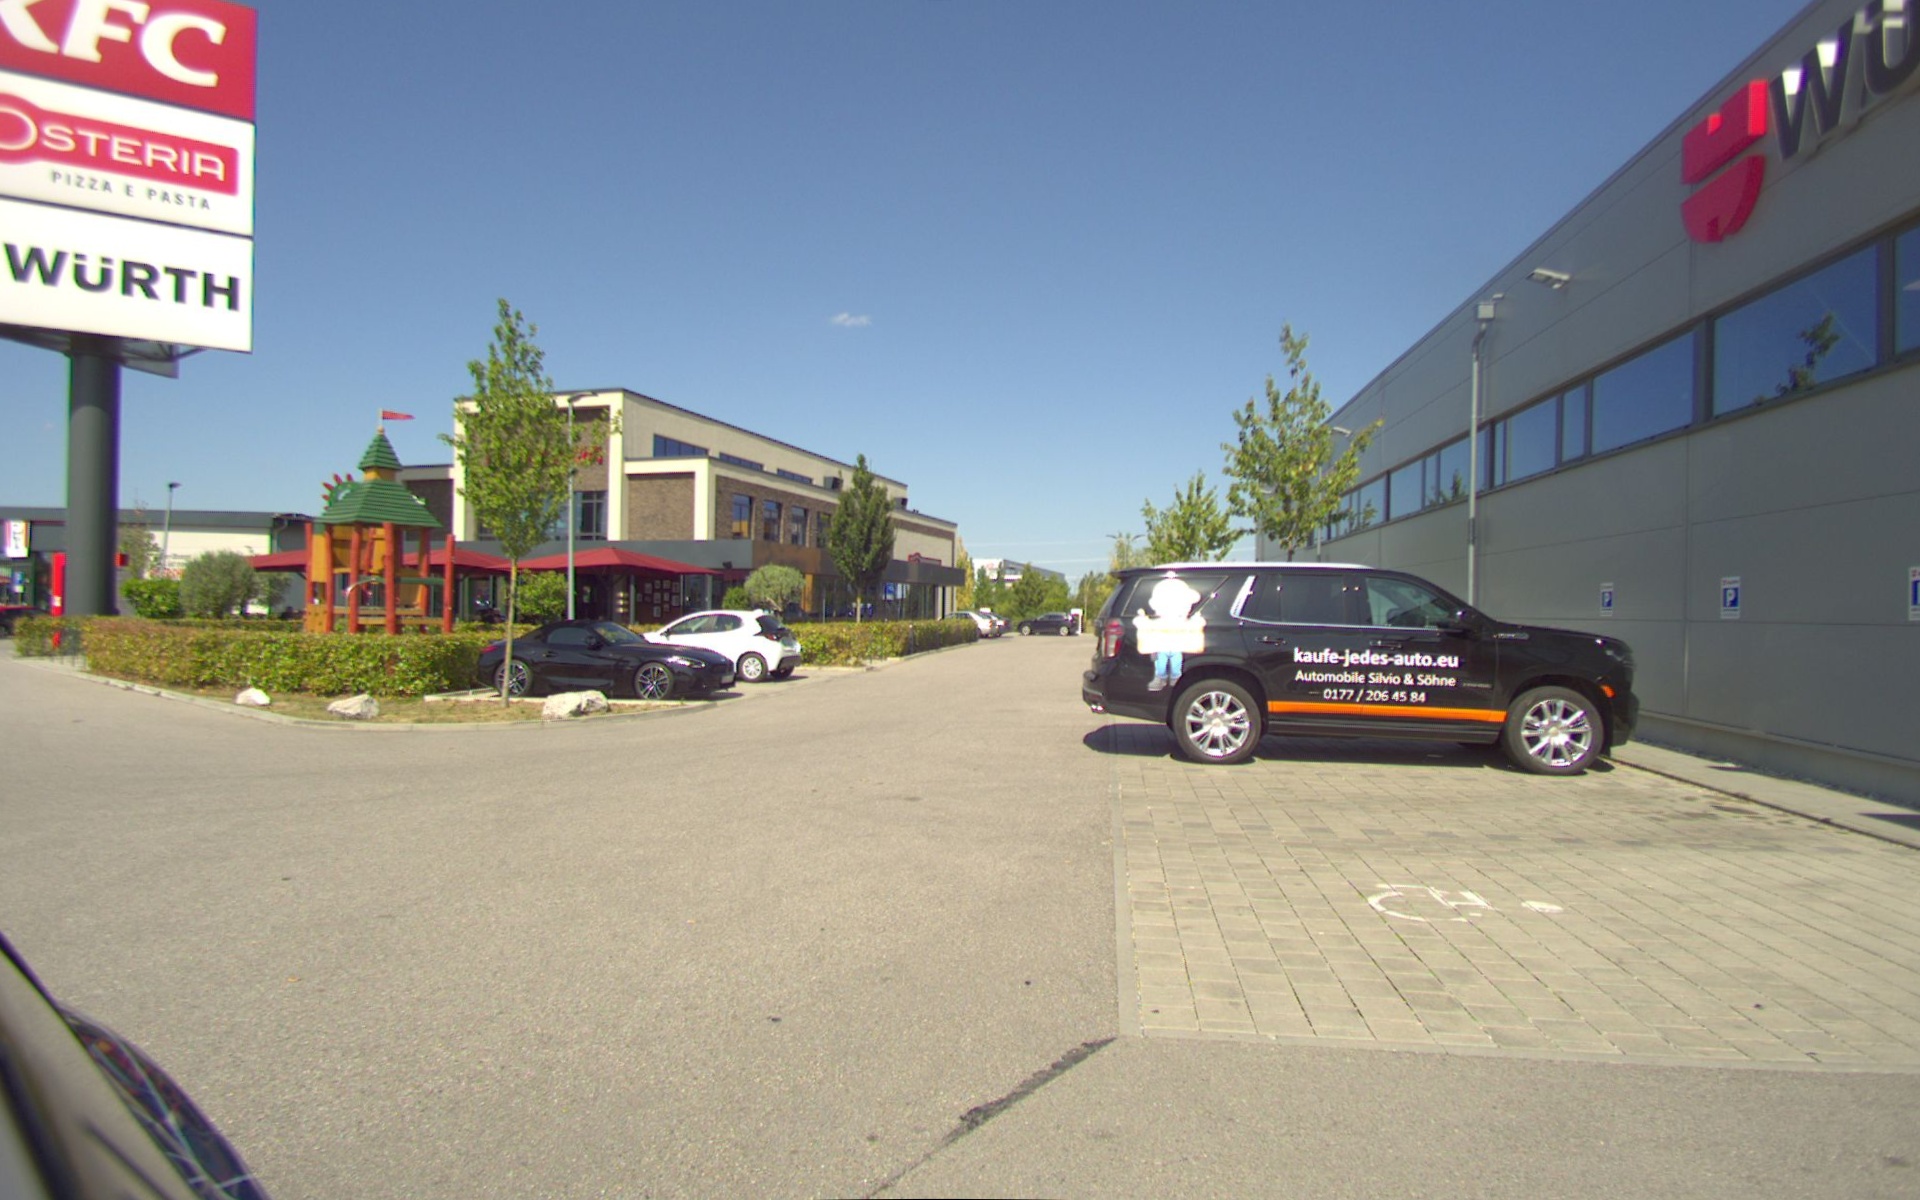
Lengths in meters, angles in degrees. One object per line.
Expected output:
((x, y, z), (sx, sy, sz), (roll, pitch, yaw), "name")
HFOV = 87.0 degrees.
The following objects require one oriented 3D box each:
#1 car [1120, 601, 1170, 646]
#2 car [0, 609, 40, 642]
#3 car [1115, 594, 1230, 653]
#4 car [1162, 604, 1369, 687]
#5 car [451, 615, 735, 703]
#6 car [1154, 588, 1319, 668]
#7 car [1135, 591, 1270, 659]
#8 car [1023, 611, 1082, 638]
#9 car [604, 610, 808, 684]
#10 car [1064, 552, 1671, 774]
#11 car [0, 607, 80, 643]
((8.564, 1.045, 46.680), (1.781, 1.953, 3.976), (0, 0, 18), "car")
((-46.189, 1.185, 47.508), (1.864, 1.577, 4.071), (0, -1, 19), "car")
((7.605, 0.822, 36.412), (3.958, 2.029, 1.993), (0, 0, 12), "car")
((6.325, 0.921, 21.368), (3.956, 1.629, 1.776), (0, -1, 10), "car")
((-6.037, 0.932, 16.903), (4.105, 1.348, 1.827), (0, -1, 8), "car")
((7.288, 0.713, 27.028), (3.951, 2.029, 1.996), (0, 0, 6), "car")
((7.470, 0.760, 31.553), (3.955, 2.029, 1.994), (0, 0, 10), "car")
((6.530, 1.708, 71.272), (3.961, 1.799, 1.764), (0, 0, 14), "car")
((-5.398, 0.971, 21.711), (3.874, 1.486, 1.796), (0, -1, 13), "car")
((3.764, 0.561, 10.329), (5.319, 1.953, 2.026), (0, -1, 9), "car")
((-43.592, 1.143, 46.742), (1.864, 1.577, 4.071), (0, -1, 19), "car")
